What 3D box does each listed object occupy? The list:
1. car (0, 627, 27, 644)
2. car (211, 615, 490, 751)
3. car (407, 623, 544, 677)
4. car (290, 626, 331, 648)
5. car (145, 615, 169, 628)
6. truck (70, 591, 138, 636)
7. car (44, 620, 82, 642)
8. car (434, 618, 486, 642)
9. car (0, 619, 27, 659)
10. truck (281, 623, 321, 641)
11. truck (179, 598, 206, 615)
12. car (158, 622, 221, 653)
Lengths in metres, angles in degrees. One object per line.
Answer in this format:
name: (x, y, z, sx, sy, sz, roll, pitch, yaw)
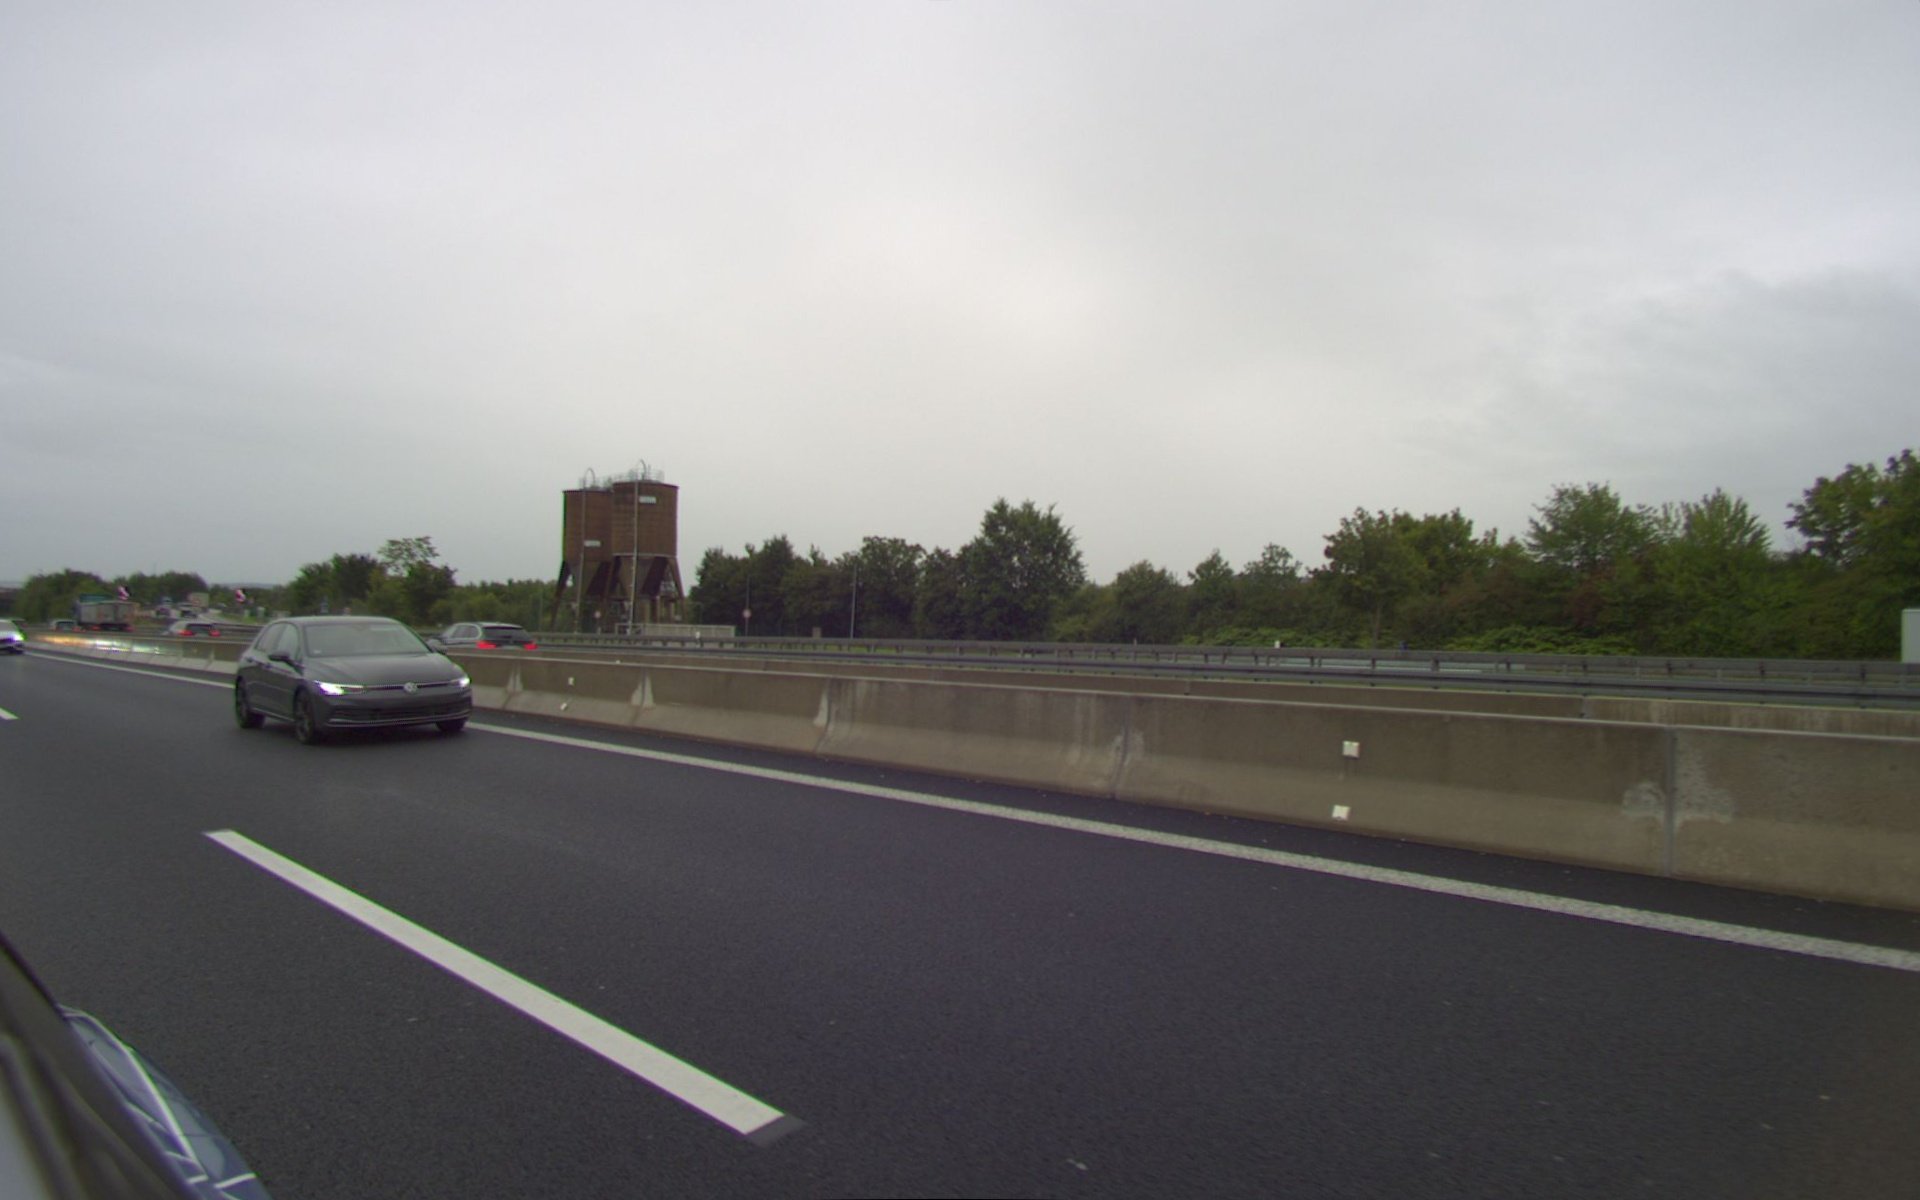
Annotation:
car: (-94.433, 3.493, 100.732, 3.996, 1.644, 1.762, -1, -2, 39)
car: (-7.916, 0.930, 12.967, 4.365, 1.436, 1.811, -1, -1, 41)
car: (-13.610, 1.340, 28.327, 4.442, 1.402, 1.837, -1, -2, 41)
car: (-57.336, 3.226, 89.293, 4.459, 1.822, 1.883, -1, -1, 41)
car: (-125.803, 3.427, 158.507, 4.547, 2.029, 2.049, -1, -2, 40)
truck: (-75.778, 1.225, 89.516, 11.905, 3.738, 2.937, -1, 0, 42)
car: (-68.943, 2.360, 77.767, 3.998, 1.608, 1.695, -1, -1, 41)
car: (-37.786, 2.275, 76.392, 4.503, 1.775, 1.972, -1, -2, 42)
car: (-40.488, 1.616, 42.226, 4.817, 1.603, 1.972, -1, -1, 43)
truck: (-68.049, 3.282, 104.494, 5.401, 1.657, 1.974, -1, 0, 40)
truck: (-148.579, 1.293, 195.921, 3.208, 3.241, 7.609, 0, -1, -44)
car: (-38.989, 1.888, 51.186, 3.998, 1.519, 1.779, -1, -2, 41)
